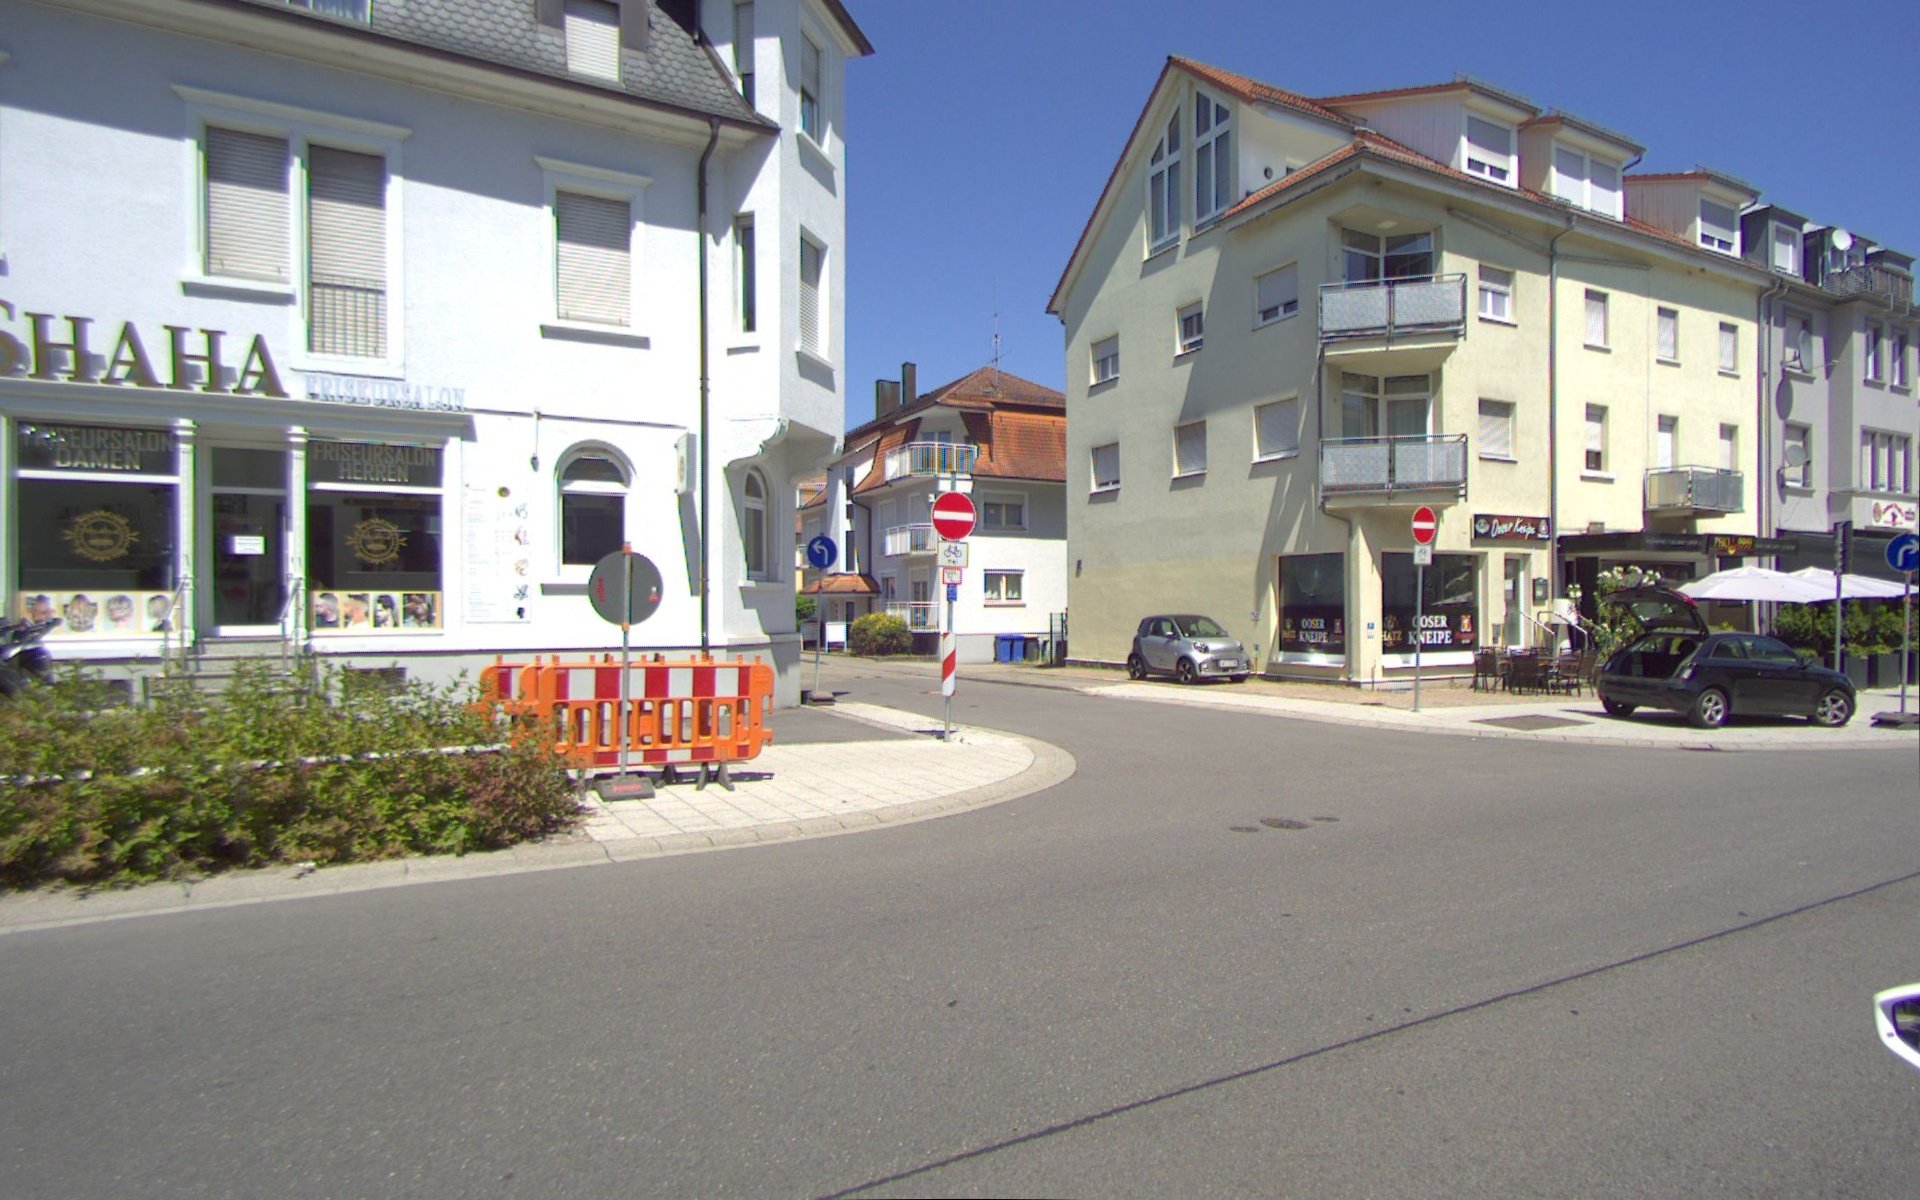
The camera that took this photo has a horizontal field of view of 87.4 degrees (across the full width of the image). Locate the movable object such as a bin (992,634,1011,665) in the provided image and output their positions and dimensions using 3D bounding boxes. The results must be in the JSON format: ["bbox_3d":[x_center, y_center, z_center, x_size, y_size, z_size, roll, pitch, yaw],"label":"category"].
[{"bbox_3d":[1.647,1.937,39.668,0.534,1.209,0.591,0,-1,-24],"label":"movable object such as a bin"}]

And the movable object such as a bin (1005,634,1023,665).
[{"bbox_3d":[2.140,1.960,39.897,0.534,1.209,0.591,0,-1,-24],"label":"movable object such as a bin"}]

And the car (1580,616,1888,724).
[{"bbox_3d":[12.158,1.065,15.839,4.061,1.480,1.712,1,1,-15],"label":"car"}]

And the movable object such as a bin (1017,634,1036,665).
[{"bbox_3d":[2.658,1.984,40.118,0.534,1.209,0.591,0,-1,-24],"label":"movable object such as a bin"}]

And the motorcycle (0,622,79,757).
[{"bbox_3d":[-9.688,0.845,9.969,0.823,1.233,2.386,1,-1,-27],"label":"motorcycle"}]

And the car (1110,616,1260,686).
[{"bbox_3d":[5.169,1.131,23.425,1.671,1.478,3.248,0,-1,-29],"label":"car"}]
